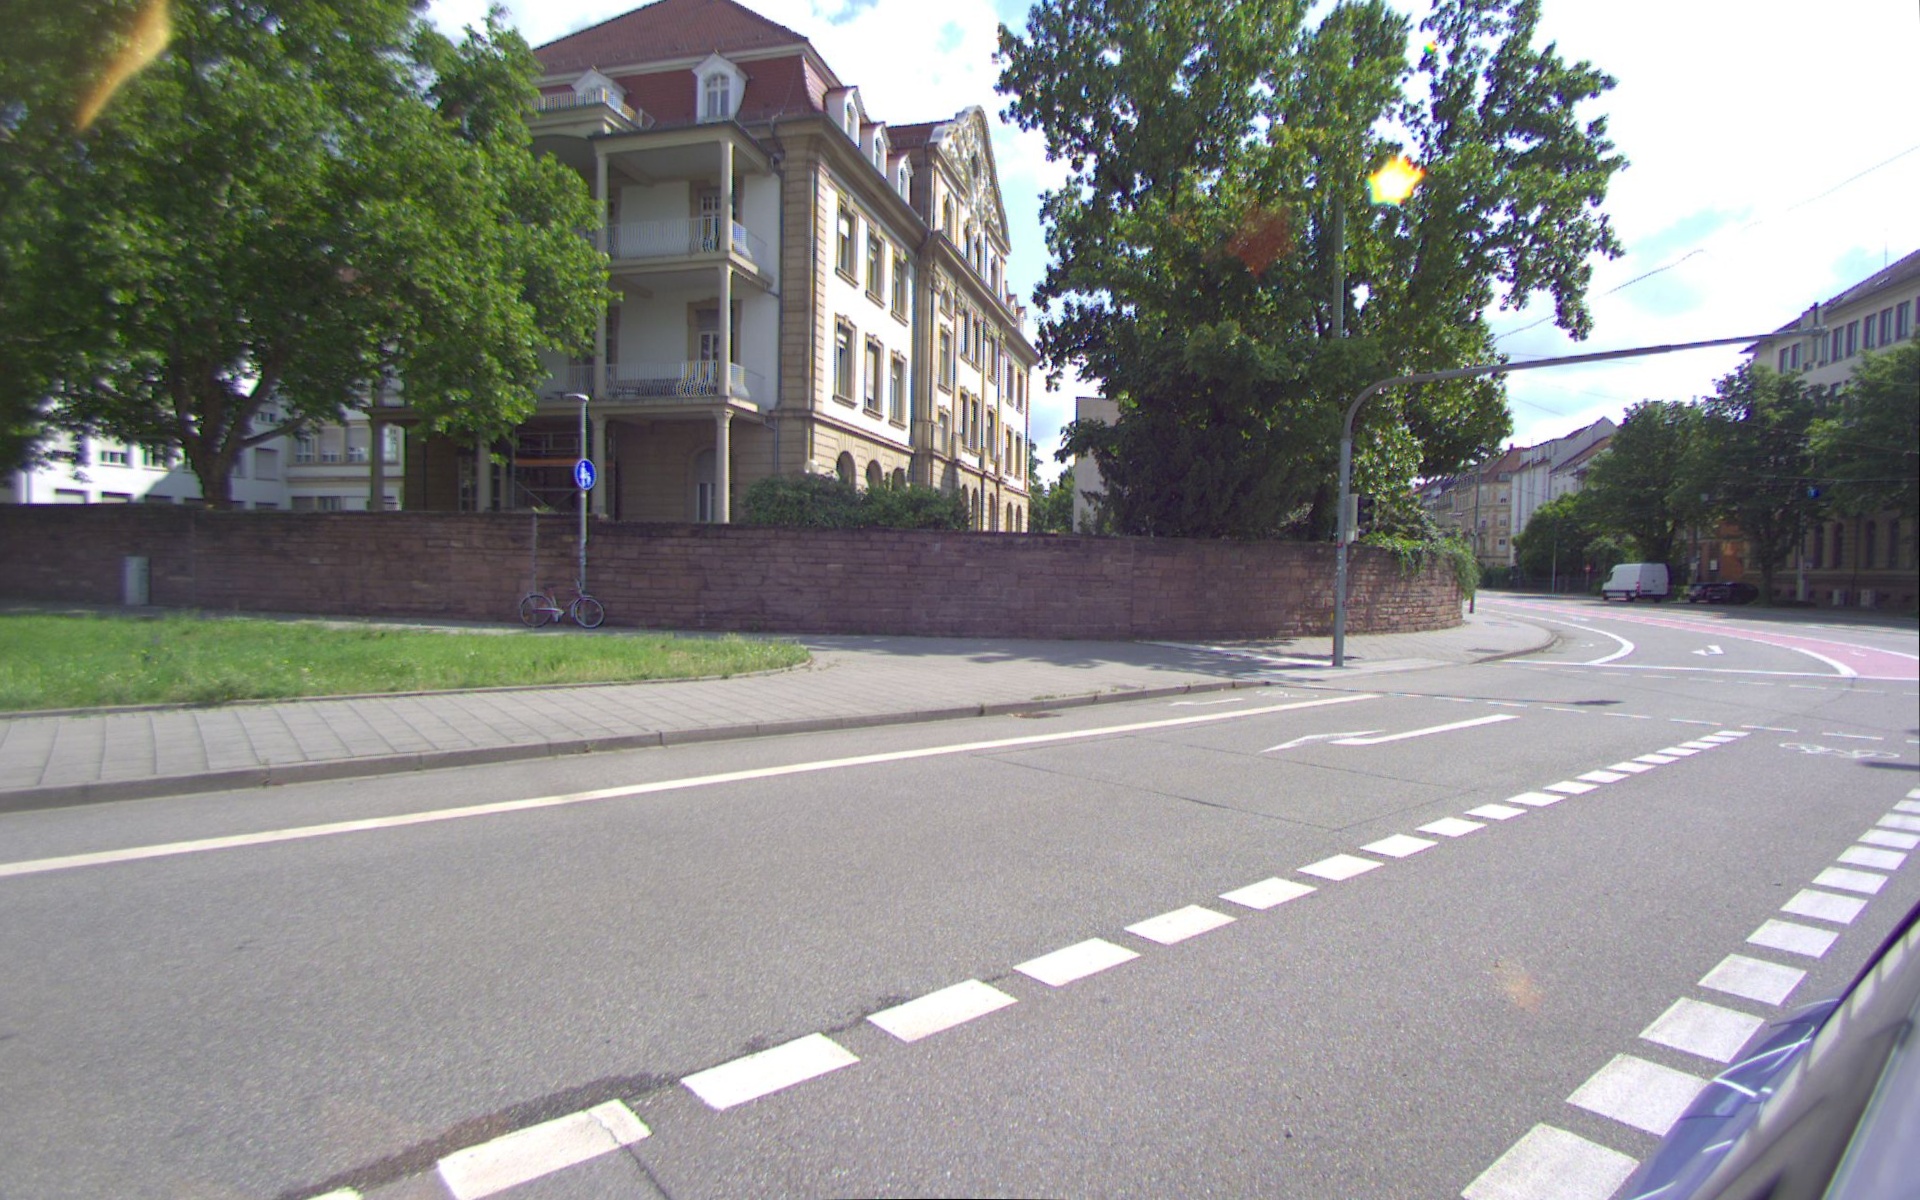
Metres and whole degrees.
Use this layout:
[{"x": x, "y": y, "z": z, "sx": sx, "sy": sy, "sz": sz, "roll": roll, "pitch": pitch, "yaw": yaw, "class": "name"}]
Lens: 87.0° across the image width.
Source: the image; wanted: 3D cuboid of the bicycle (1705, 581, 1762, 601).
[{"x": 52.880, "y": -0.647, "z": 69.209, "sx": 1.030, "sy": 1.221, "sz": 2.898, "roll": -4, "pitch": 4, "yaw": -32, "class": "bicycle"}]

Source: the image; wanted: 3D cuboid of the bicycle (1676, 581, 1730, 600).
[{"x": 53.051, "y": -0.683, "z": 72.291, "sx": 1.052, "sy": 1.221, "sz": 2.898, "roll": -4, "pitch": 4, "yaw": -32, "class": "bicycle"}]

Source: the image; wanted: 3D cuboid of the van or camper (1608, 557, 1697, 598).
[{"x": 48.153, "y": -1.589, "z": 70.586, "sx": 2.934, "sy": 2.634, "sz": 6.728, "roll": 2, "pitch": 2, "yaw": 15, "class": "van or camper"}]

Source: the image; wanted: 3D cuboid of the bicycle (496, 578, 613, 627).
[{"x": -8.176, "y": 0.033, "z": 20.461, "sx": 2.024, "sy": 0.871, "sz": 0.858, "roll": 2, "pitch": 4, "yaw": 4, "class": "bicycle"}]
